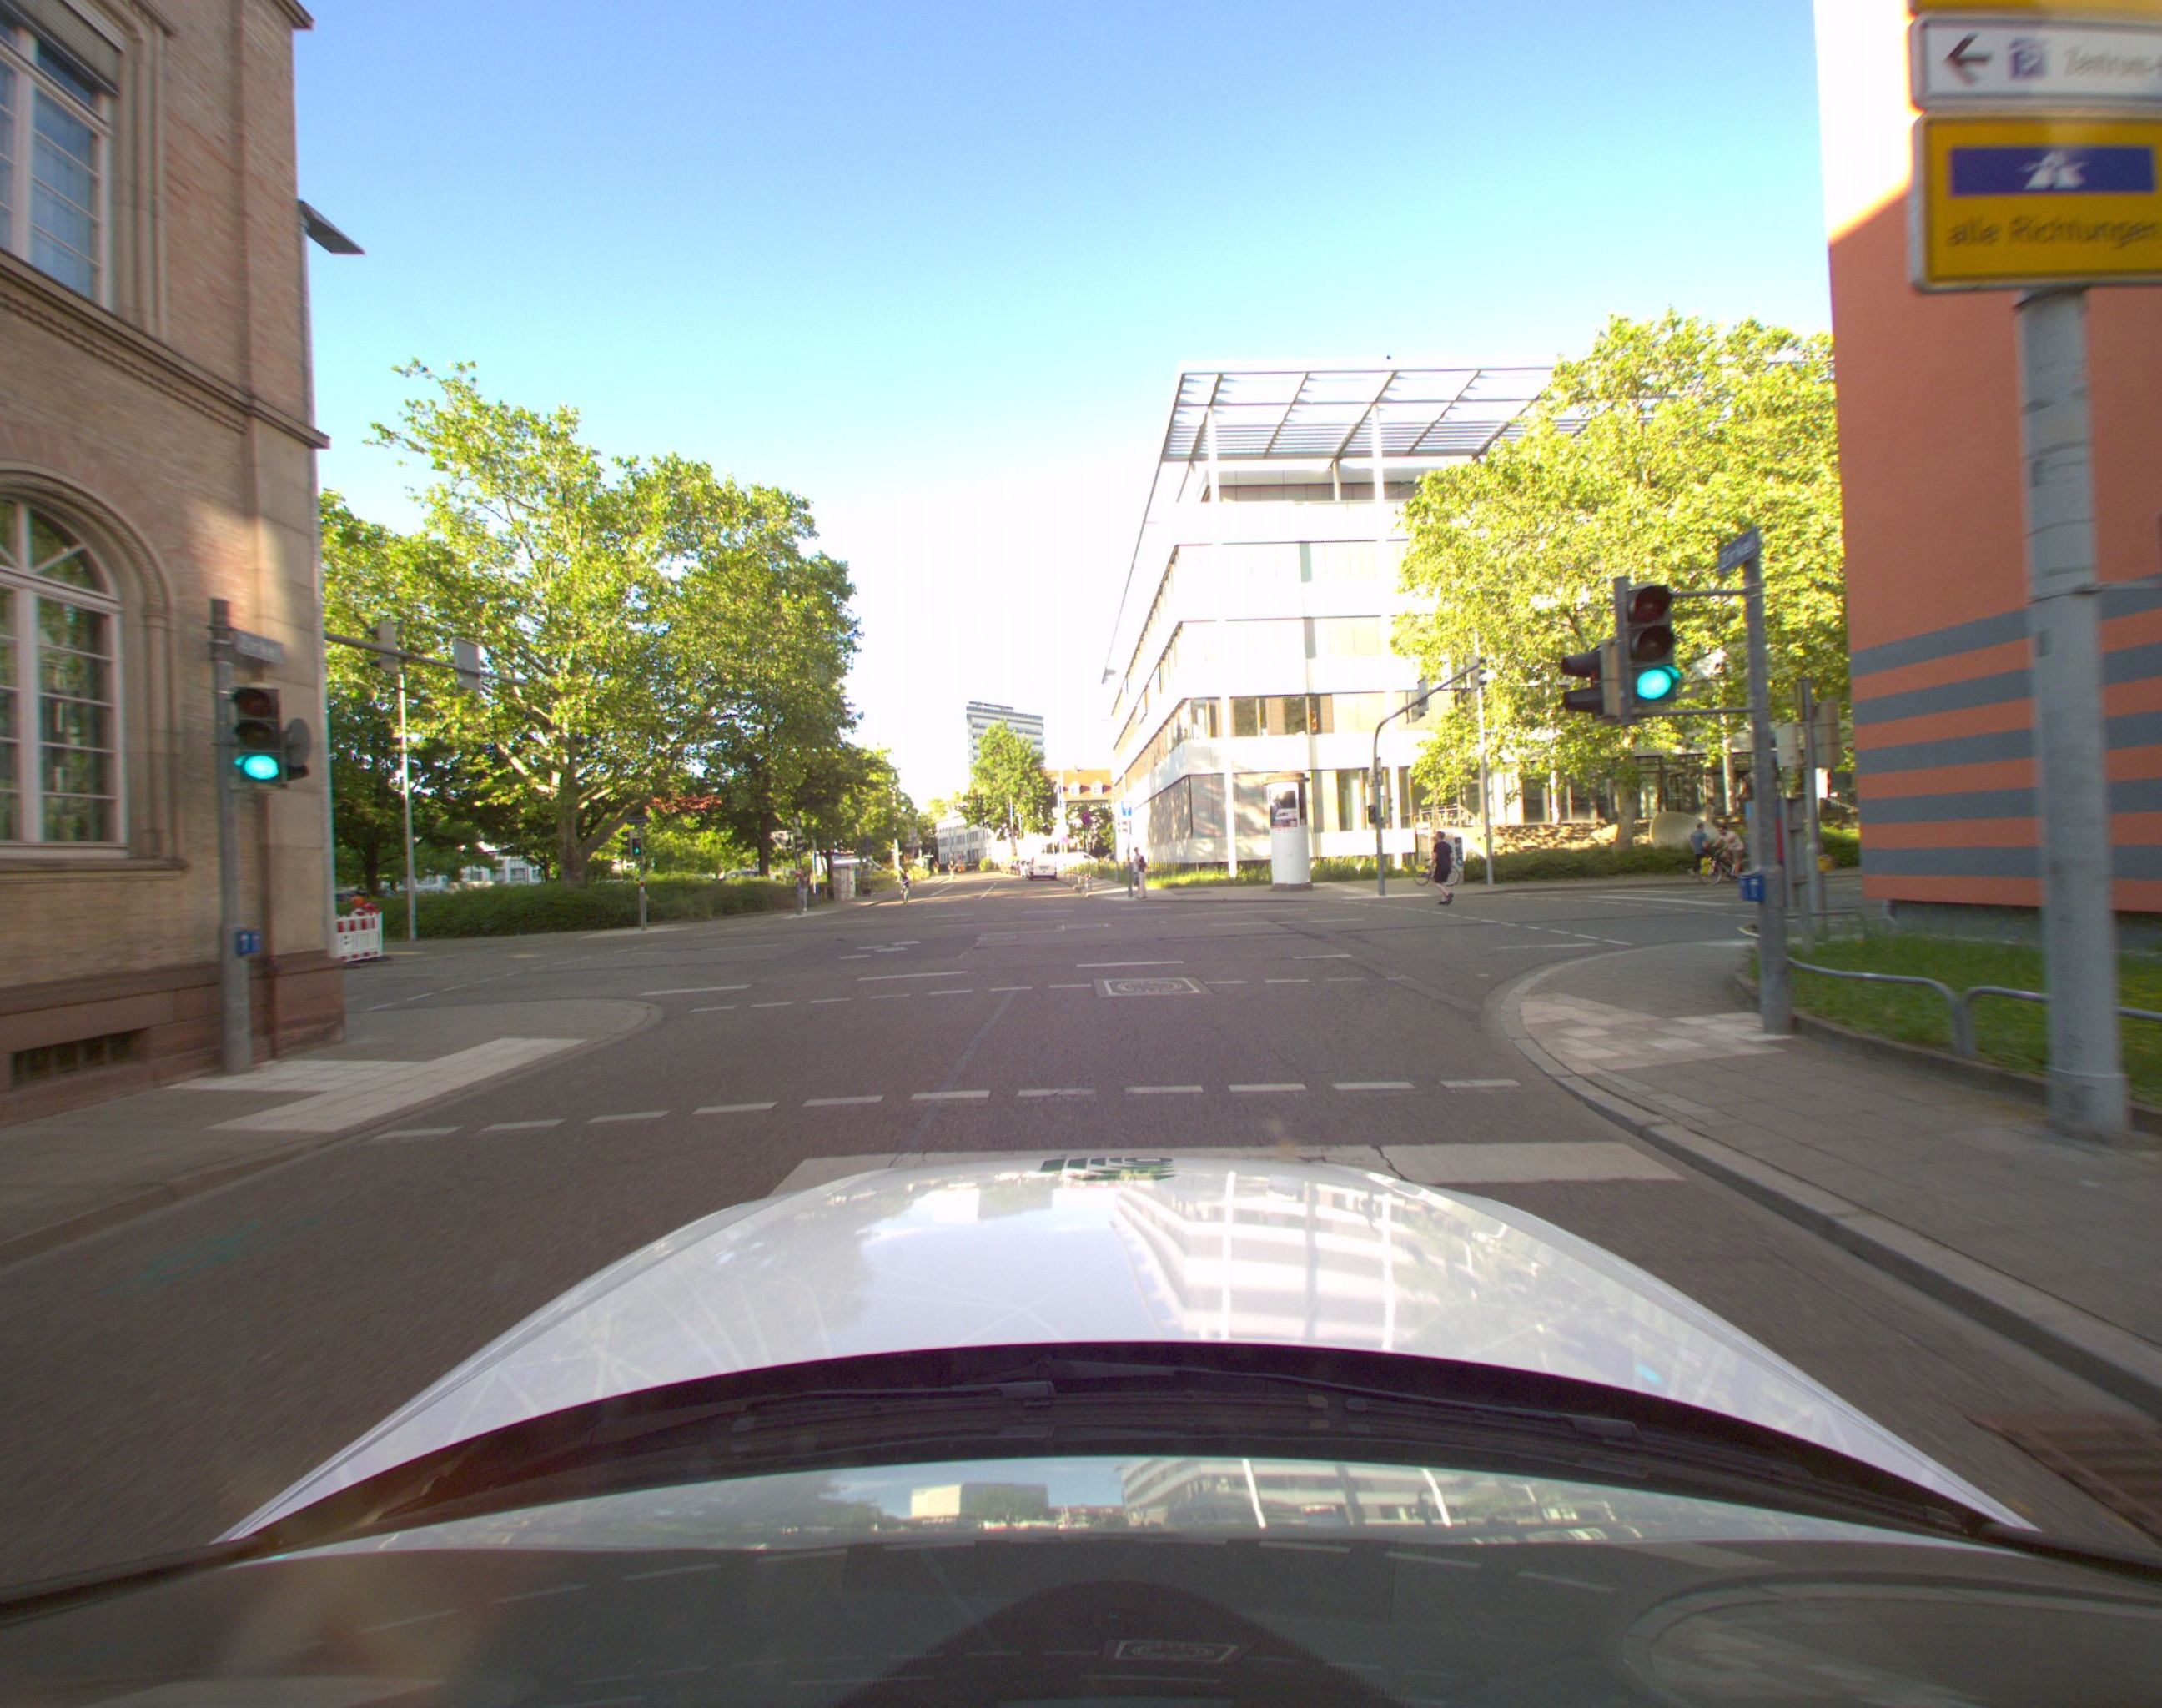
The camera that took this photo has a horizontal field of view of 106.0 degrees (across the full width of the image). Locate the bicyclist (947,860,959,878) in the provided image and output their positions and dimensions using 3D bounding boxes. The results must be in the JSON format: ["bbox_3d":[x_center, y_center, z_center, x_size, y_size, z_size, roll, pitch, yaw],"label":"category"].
[{"bbox_3d":[-11.199,1.313,71.291,0.865,1.515,1.017,-5,-1,-7],"label":"bicyclist"}]

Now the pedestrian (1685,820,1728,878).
[{"bbox_3d":[20.103,-0.166,26.174,0.833,1.840,0.708,0,0,-6],"label":"pedestrian"}]

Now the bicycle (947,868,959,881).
[{"bbox_3d":[-11.167,1.782,71.271,0.865,1.009,2.408,-5,0,-6],"label":"bicycle"}]

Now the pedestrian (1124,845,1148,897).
[{"bbox_3d":[2.064,0.621,30.478,0.554,1.850,0.681,-6,0,20],"label":"pedestrian"}]

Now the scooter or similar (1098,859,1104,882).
[{"bbox_3d":[1.274,1.049,51.358,0.329,1.424,1.334,-1,-1,-1],"label":"scooter or similar"}]

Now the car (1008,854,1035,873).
[{"bbox_3d":[-5.781,0.913,78.919,1.891,1.655,4.394,-2,1,-14],"label":"car"}]

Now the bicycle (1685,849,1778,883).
[{"bbox_3d":[19.635,0.363,24.614,2.099,0.927,0.733,-3,0,8],"label":"bicycle"}]

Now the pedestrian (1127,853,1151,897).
[{"bbox_3d":[2.132,0.776,29.865,0.560,1.540,0.673,-6,0,-14],"label":"pedestrian"}]

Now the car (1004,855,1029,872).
[{"bbox_3d":[-6.687,0.982,84.186,1.891,1.655,4.394,-2,1,-14],"label":"car"}]

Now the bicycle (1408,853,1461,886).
[{"bbox_3d":[12.160,0.525,28.031,0.510,1.049,1.671,-4,3,-30],"label":"bicycle"}]

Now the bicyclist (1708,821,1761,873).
[{"bbox_3d":[19.715,-0.202,24.597,0.946,1.489,0.751,-3,0,9],"label":"bicyclist"}]

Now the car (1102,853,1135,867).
[{"bbox_3d":[4.502,0.693,96.982,3.561,1.546,1.550,-2,-1,-15],"label":"car"}]

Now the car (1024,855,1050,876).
[{"bbox_3d":[-3.620,0.901,66.112,1.886,1.555,4.407,-2,1,-5],"label":"car"}]

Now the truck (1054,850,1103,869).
[{"bbox_3d":[-0.287,0.612,96.112,5.347,2.014,1.990,-2,-1,-15],"label":"truck"}]

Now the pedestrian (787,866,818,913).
[{"bbox_3d":[-10.729,1.344,31.400,0.700,1.723,0.956,-4,-1,3],"label":"pedestrian"}]

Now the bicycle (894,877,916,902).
[{"bbox_3d":[-7.553,1.531,35.071,0.614,0.970,1.838,-3,0,-4],"label":"bicycle"}]

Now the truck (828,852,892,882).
[{"bbox_3d":[-18.764,1.086,69.312,4.822,2.399,2.083,-2,0,-6],"label":"truck"}]

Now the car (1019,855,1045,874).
[{"bbox_3d":[-4.329,0.909,71.549,1.888,1.555,4.402,-2,1,-9],"label":"car"}]

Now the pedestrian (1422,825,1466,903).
[{"bbox_3d":[8.773,0.246,19.720,0.703,1.840,0.838,-1,0,4],"label":"pedestrian"}]

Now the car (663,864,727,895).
[{"bbox_3d":[-34.197,2.220,72.250,4.547,2.391,2.071,-4,-1,-5],"label":"car"}]

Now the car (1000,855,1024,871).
[{"bbox_3d":[-7.612,0.970,89.010,1.891,1.655,4.394,-2,1,-14],"label":"car"}]

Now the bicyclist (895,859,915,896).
[{"bbox_3d":[-7.579,1.008,35.099,0.614,1.532,0.902,-3,0,-4],"label":"bicyclist"}]

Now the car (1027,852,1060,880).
[{"bbox_3d":[-2.737,0.800,57.850,2.082,1.795,4.407,-2,1,-5],"label":"car"}]

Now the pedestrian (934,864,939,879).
[{"bbox_3d":[-16.490,1.999,93.166,0.434,1.608,0.490,-2,0,-15],"label":"pedestrian"}]
